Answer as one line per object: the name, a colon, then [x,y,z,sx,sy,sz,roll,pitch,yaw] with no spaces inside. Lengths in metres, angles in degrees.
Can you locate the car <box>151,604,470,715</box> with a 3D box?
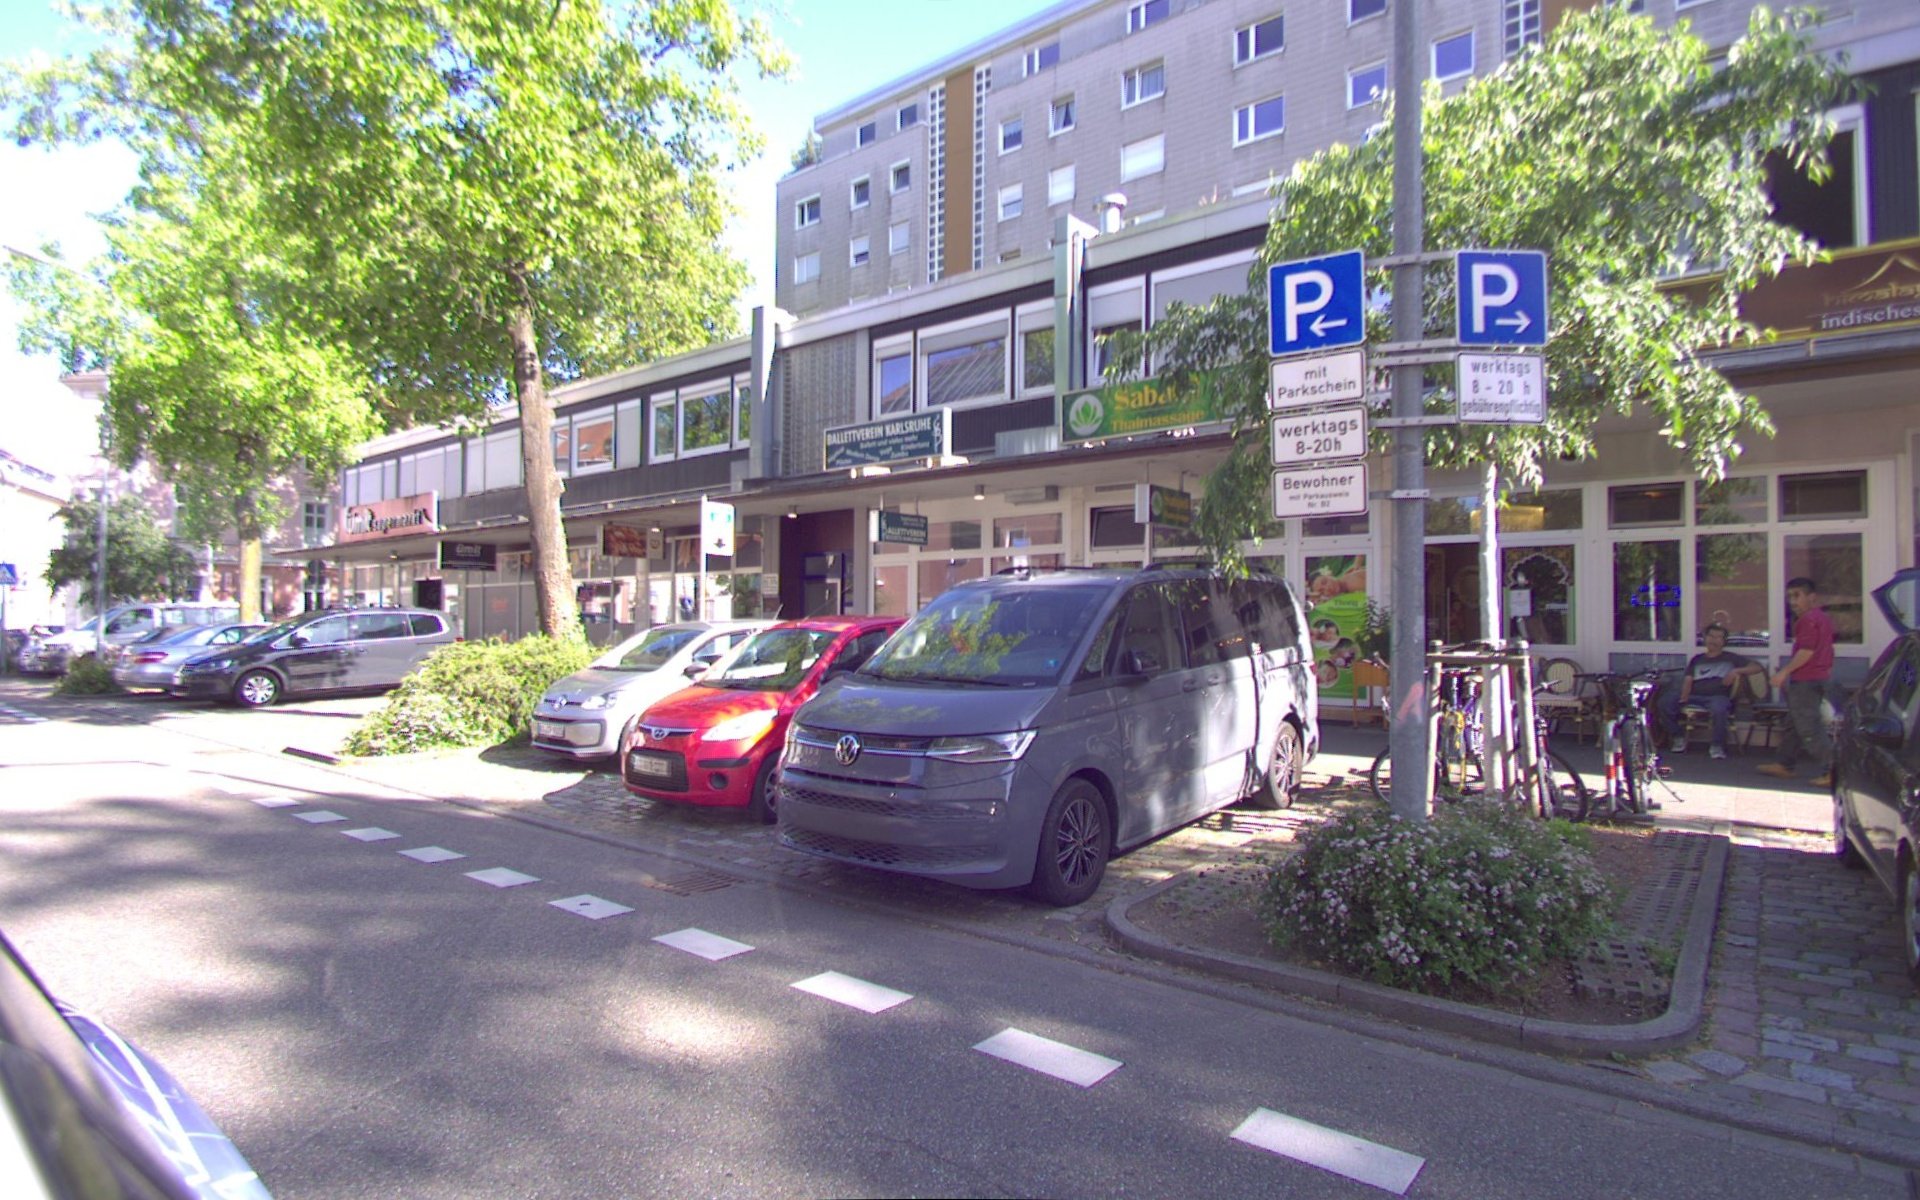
car: [-12.005,1.003,19.016,1.872,1.790,4.722,-2,-1,39]

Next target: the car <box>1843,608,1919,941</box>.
car: [5.193,0.771,4.436,1.610,1.462,3.634,-1,-1,36]

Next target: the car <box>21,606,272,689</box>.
car: [-21.500,1.174,26.971,1.906,1.984,4.936,-1,-1,37]

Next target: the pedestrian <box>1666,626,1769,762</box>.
pedestrian: [7.337,0.878,9.804,0.746,1.255,0.642,-2,-2,39]

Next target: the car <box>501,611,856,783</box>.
car: [-3.030,0.941,11.411,1.671,1.573,3.550,-2,-1,39]

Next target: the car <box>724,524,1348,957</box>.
car: [0.947,0.645,7.112,1.871,1.953,4.981,-2,-1,39]

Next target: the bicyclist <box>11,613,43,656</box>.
bicyclist: [-36.334,1.343,39.429,0.806,1.686,0.849,2,-3,-38]

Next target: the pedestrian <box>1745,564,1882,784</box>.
pedestrian: [7.028,0.592,8.352,0.571,1.725,0.637,1,-2,-23]

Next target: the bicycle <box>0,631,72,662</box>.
bicycle: [-36.220,1.802,39.498,2.253,1.195,0.877,1,-2,-37]

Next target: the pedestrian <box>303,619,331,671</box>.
pedestrian: [-19.559,1.363,30.779,0.662,1.567,0.522,-1,-1,40]

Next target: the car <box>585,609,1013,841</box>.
car: [-1.231,0.890,8.877,1.659,1.566,3.524,-2,-1,38]

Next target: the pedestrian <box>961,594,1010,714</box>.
pedestrian: [0.369,0.768,14.588,0.532,1.678,0.439,-2,-2,40]

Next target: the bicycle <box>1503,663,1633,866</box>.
bicycle: [3.917,0.954,6.462,0.613,1.047,1.847,-1,-2,34]

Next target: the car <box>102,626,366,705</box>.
car: [-14.338,1.236,20.183,1.757,1.409,3.950,-1,-2,37]

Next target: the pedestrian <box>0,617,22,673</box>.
pedestrian: [-28.418,1.327,30.014,0.807,1.652,0.718,-1,-2,39]

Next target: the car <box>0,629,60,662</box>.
car: [-47.970,2.309,51.964,1.645,1.650,4.061,1,-2,-27]

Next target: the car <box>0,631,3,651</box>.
car: [-55.588,2.356,56.744,1.585,1.464,3.305,5,-5,-23]

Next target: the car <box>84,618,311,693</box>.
car: [-17.892,1.235,23.907,1.734,1.431,3.950,-1,1,37]

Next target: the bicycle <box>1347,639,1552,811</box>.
bicycle: [3.959,0.902,8.081,0.801,1.176,2.211,-2,-3,44]

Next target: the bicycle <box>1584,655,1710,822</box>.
bicycle: [5.128,0.949,7.511,0.614,1.047,1.844,-1,-2,39]

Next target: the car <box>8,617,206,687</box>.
car: [-23.741,1.405,28.278,1.755,1.805,3.949,-2,-2,38]
